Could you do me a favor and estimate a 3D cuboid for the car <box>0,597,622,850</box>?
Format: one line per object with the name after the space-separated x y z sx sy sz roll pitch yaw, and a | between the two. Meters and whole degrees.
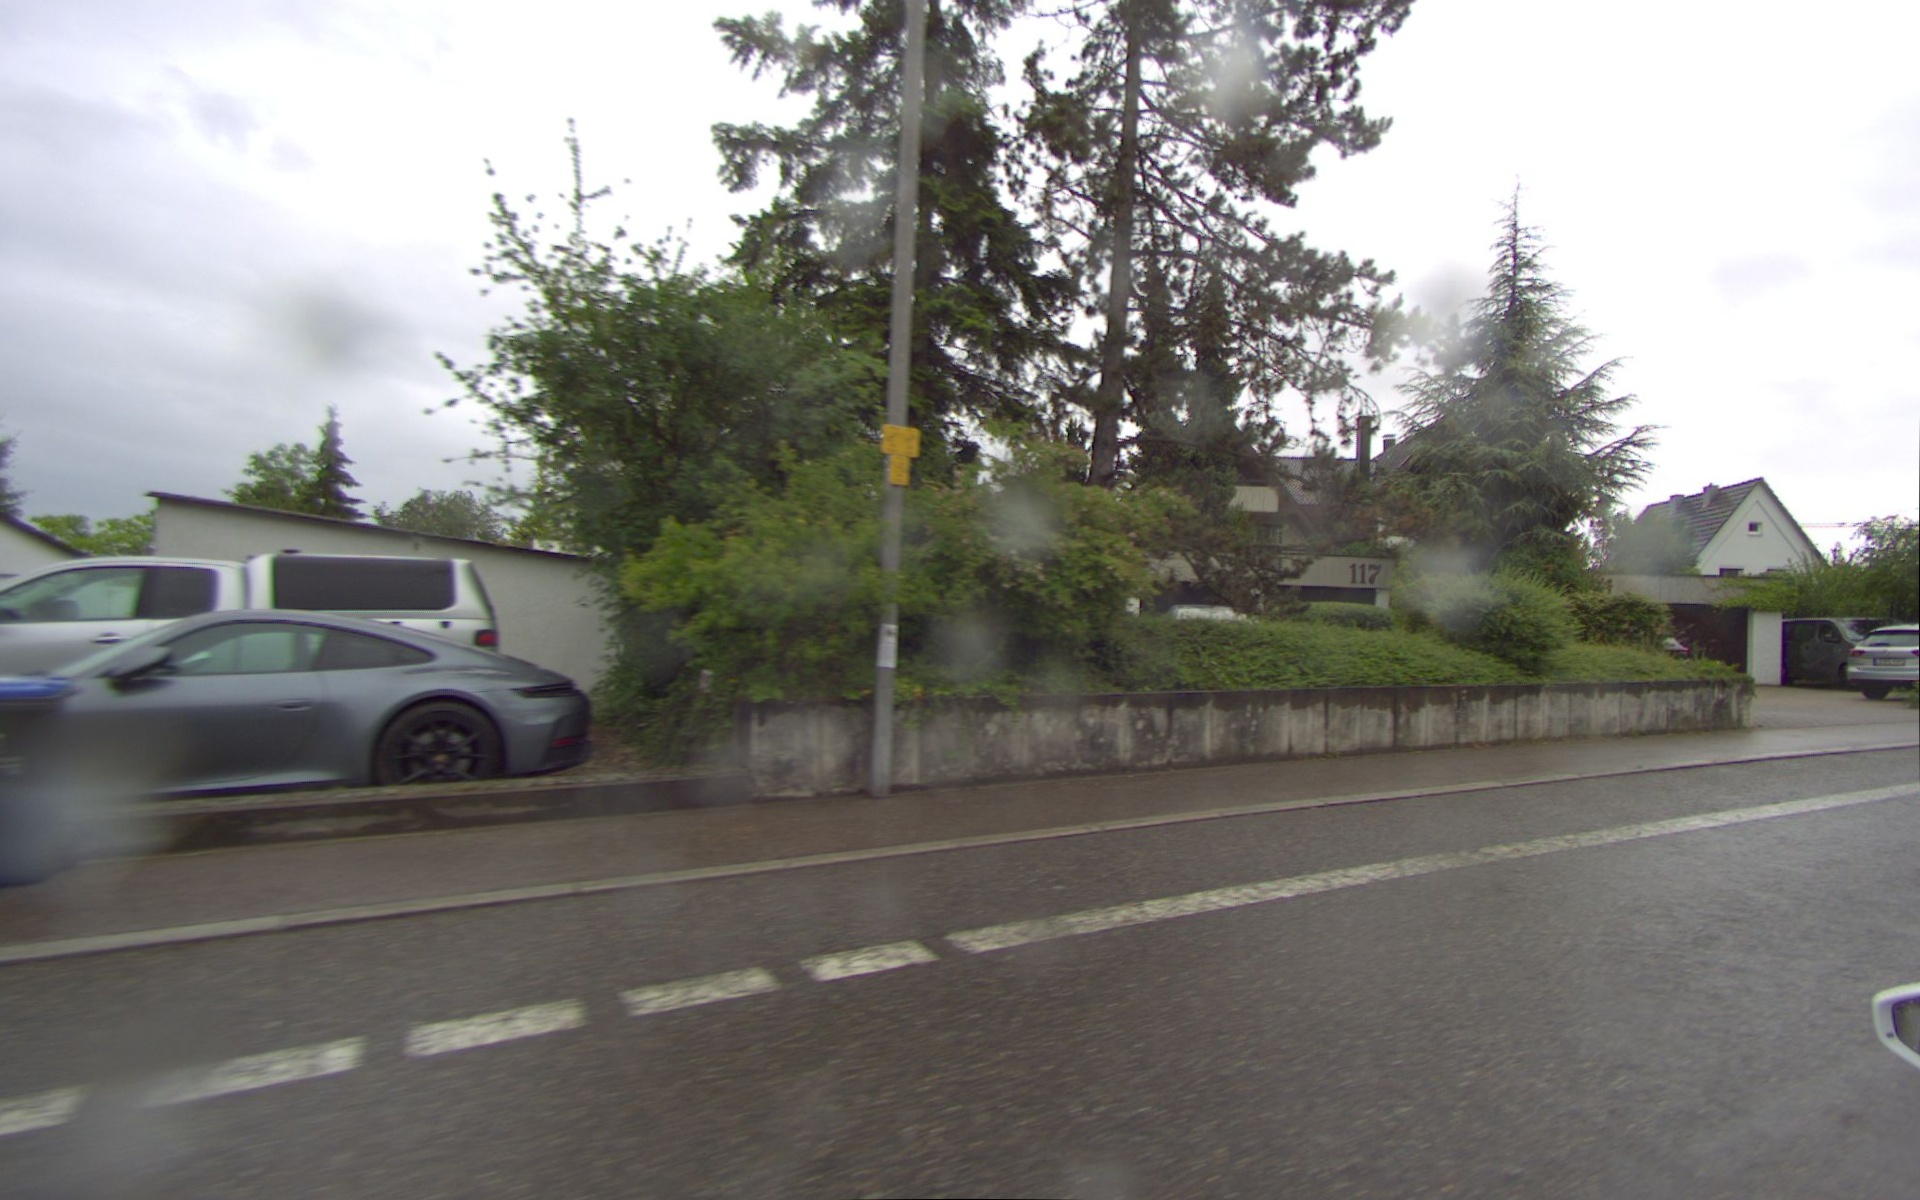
-4.712 0.697 6.638 4.383 1.325 1.983 2 -2 -31 | car

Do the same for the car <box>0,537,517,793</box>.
-6.852 0.504 8.563 5.415 1.868 1.984 2 -1 -31 | car

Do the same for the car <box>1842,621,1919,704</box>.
19.938 1.251 20.078 3.937 1.572 1.733 1 -2 -18 | car

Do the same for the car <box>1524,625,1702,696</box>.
15.138 1.347 23.579 1.902 1.456 4.002 1 -1 6 | car

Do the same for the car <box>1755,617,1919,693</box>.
23.699 1.437 26.999 1.959 1.862 4.003 1 -2 10 | car

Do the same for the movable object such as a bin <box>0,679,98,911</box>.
-4.349 0.875 4.586 0.552 1.001 0.368 2 -2 -33 | movable object such as a bin
